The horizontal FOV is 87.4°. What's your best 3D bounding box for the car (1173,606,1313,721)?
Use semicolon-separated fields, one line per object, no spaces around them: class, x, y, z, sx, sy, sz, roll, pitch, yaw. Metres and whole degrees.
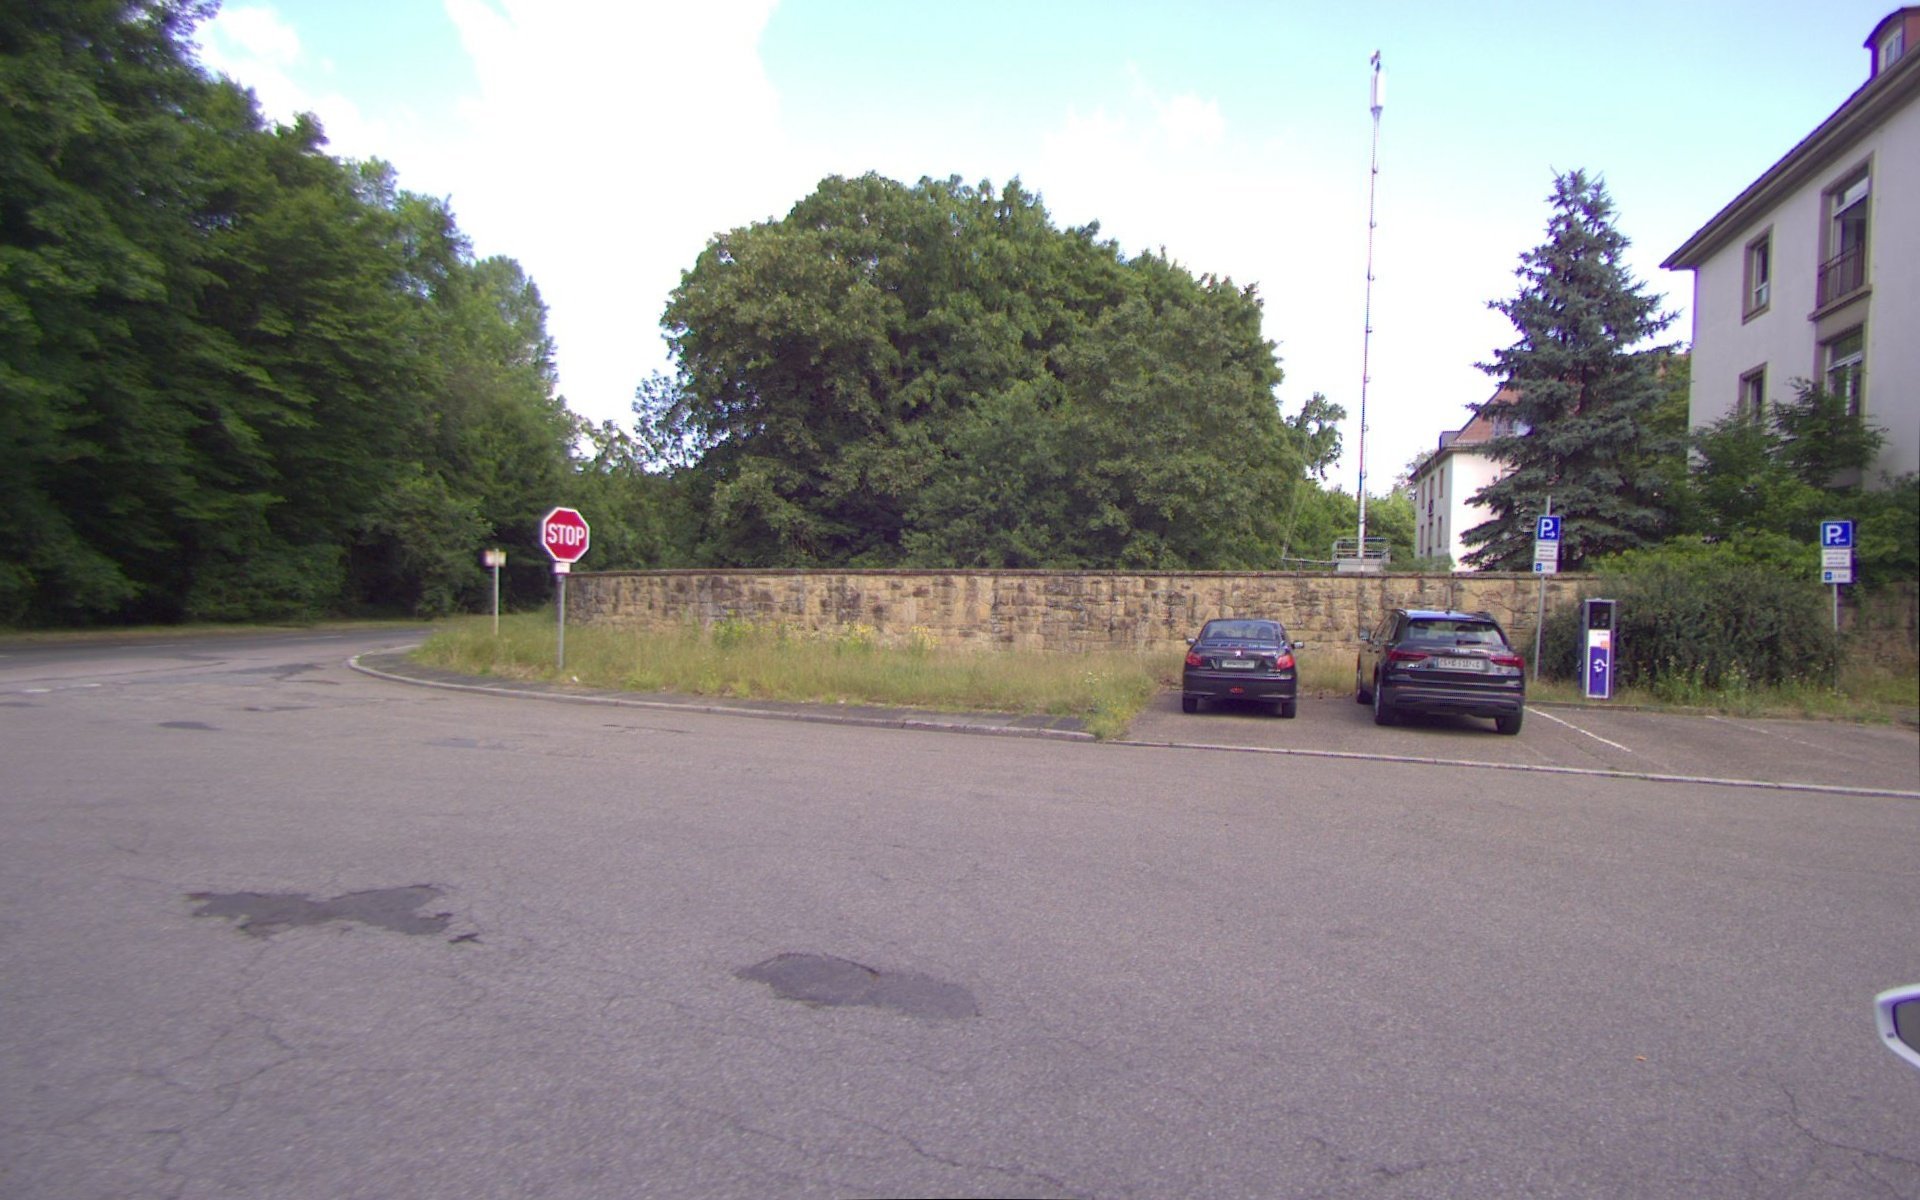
car;4.593;0.887;15.936;1.842;1.461;3.999;1;1;20

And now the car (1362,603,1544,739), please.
car;6.955;0.888;14.570;1.862;1.567;4.000;1;1;19
